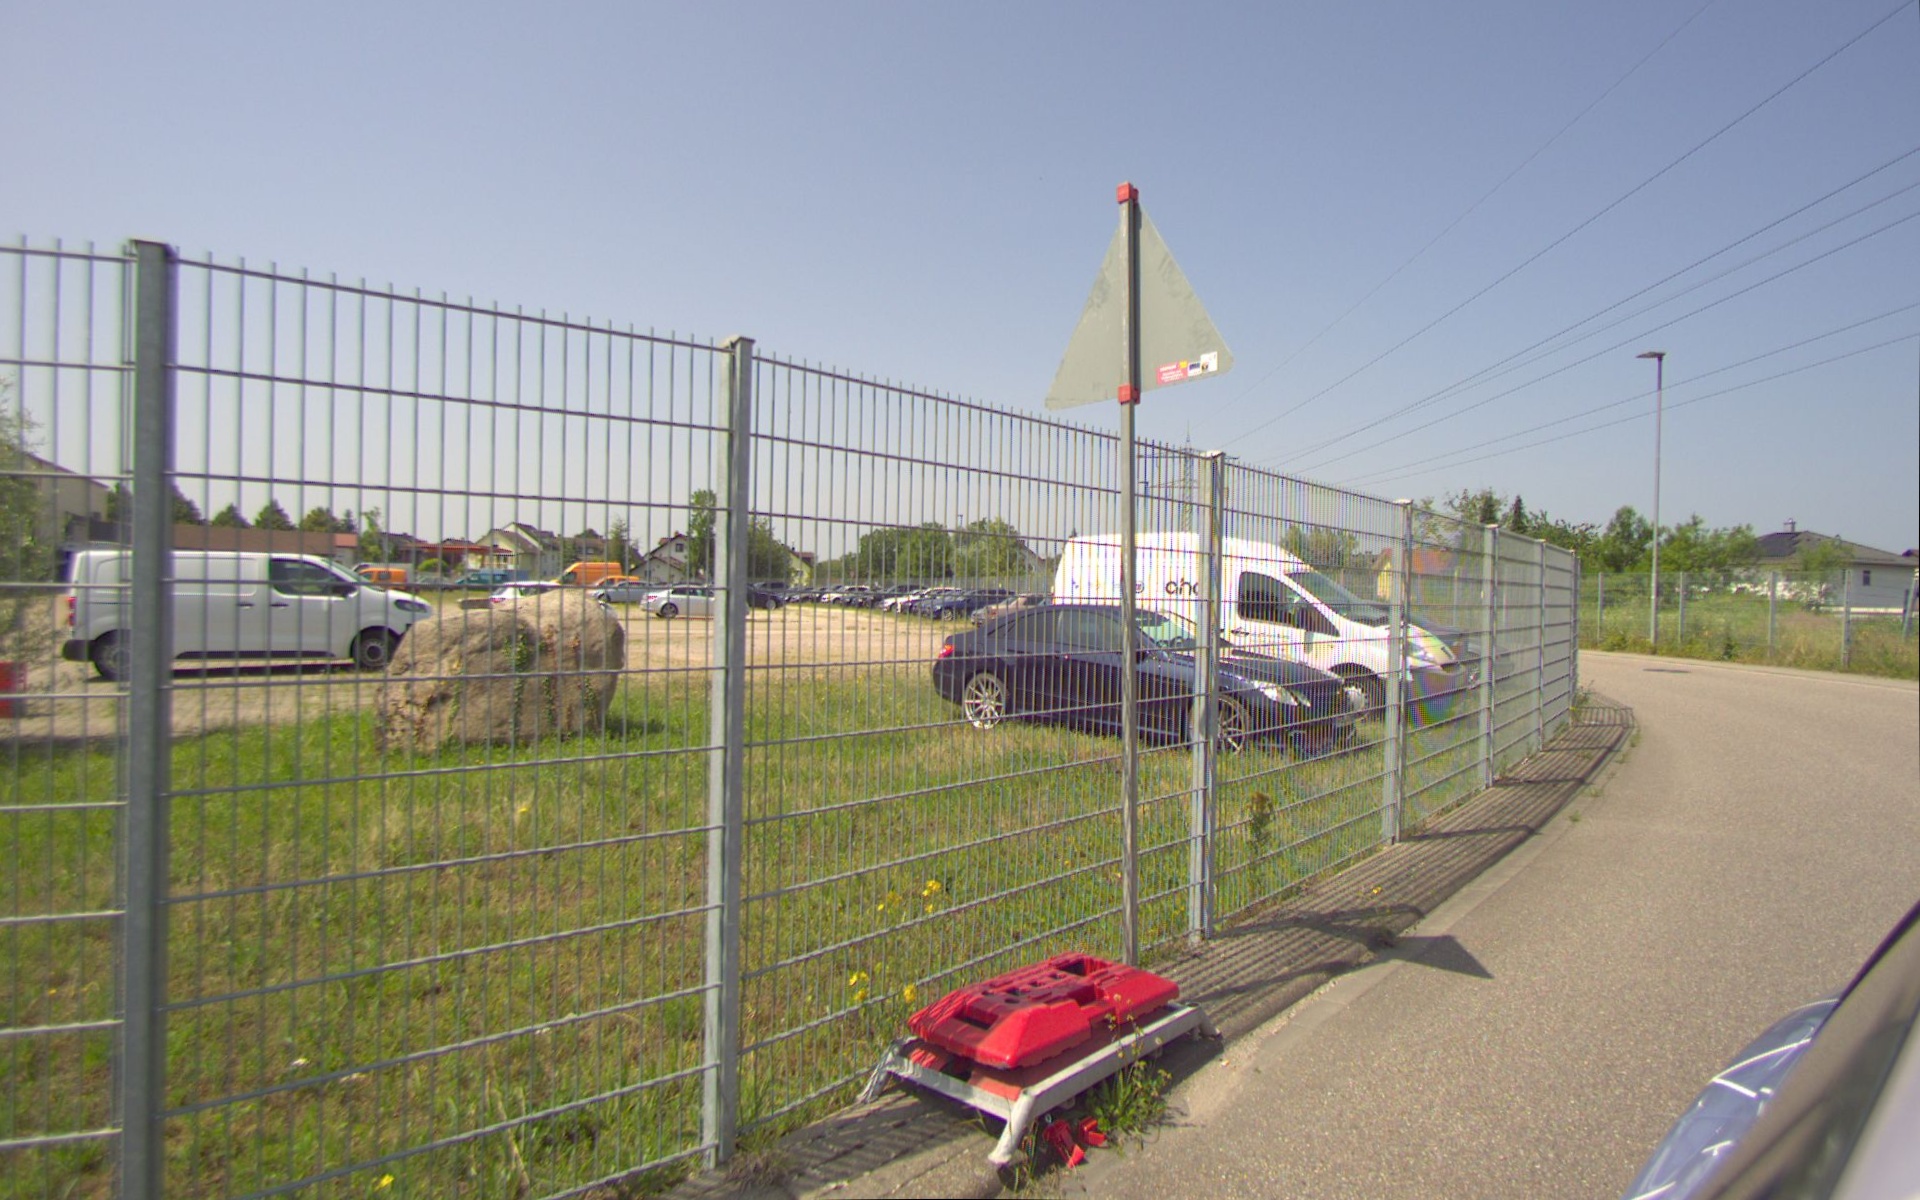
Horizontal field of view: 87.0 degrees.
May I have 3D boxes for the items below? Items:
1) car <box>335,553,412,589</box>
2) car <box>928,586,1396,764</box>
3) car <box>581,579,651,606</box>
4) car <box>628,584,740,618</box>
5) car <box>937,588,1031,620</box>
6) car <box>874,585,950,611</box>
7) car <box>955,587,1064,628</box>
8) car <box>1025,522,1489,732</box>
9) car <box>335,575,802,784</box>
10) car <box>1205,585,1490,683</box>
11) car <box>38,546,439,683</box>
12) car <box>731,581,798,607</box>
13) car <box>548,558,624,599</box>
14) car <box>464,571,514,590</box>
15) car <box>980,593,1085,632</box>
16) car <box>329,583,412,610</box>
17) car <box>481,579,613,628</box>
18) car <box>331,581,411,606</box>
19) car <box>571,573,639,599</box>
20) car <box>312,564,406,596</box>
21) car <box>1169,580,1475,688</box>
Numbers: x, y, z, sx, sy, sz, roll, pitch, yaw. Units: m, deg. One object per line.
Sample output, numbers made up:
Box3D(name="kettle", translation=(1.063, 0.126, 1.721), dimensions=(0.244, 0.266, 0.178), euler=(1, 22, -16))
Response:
Box3D(name="car", translation=(-39.183, -1.925, 67.671), dimensions=(4.302, 2.199, 1.975), euler=(2, -1, -31))
Box3D(name="car", translation=(1.926, 0.605, 10.496), dimensions=(4.416, 1.377, 1.879), euler=(2, 1, 41))
Box3D(name="car", translation=(-20.588, -0.439, 60.616), dimensions=(3.751, 1.480, 1.591), euler=(2, -1, -28))
Box3D(name="car", translation=(-11.912, 0.058, 43.747), dimensions=(4.431, 1.368, 1.629), euler=(1, 1, -27))
Box3D(name="car", translation=(1.135, 0.159, 47.745), dimensions=(4.090, 1.354, 1.641), euler=(-2, 1, -16))
Box3D(name="car", translation=(-2.785, -0.143, 58.475), dimensions=(4.090, 1.354, 1.641), euler=(-2, 1, -16))
Box3D(name="car", translation=(1.998, 0.279, 40.949), dimensions=(4.090, 1.492, 1.641), euler=(-2, 1, -16))
Box3D(name="car", translation=(3.573, 0.206, 12.840), dimensions=(5.313, 2.176, 1.881), euler=(2, 1, 37))
Box3D(name="car", translation=(-3.377, 0.487, 8.464), dimensions=(3.907, 1.293, 1.881), euler=(2, 1, 37))
Box3D(name="car", translation=(6.500, 0.512, 17.261), dimensions=(4.308, 1.412, 1.604), euler=(2, 1, 23))
Box3D(name="car", translation=(-11.139, 0.182, 16.169), dimensions=(4.973, 1.923, 1.861), euler=(0, 1, -27))
Box3D(name="car", translation=(-12.036, -0.348, 62.405), dimensions=(3.696, 1.455, 1.614), euler=(2, -1, -28))
Box3D(name="car", translation=(-25.980, -1.440, 70.322), dimensions=(4.649, 2.617, 1.983), euler=(2, -1, -28))
Box3D(name="car", translation=(-41.647, -1.705, 89.492), dimensions=(3.889, 1.504, 1.754), euler=(2, -1, -31))
Box3D(name="car", translation=(2.734, 0.460, 38.513), dimensions=(3.597, 1.371, 1.744), euler=(1, 1, -14))
Box3D(name="car", translation=(-36.321, -0.215, 62.439), dimensions=(4.302, 1.504, 1.975), euler=(2, -1, -31))
Box3D(name="car", translation=(-12.846, 0.112, 31.521), dimensions=(3.594, 1.454, 1.537), euler=(1, 1, -31))
Box3D(name="car", translation=(-37.722, -0.416, 64.945), dimensions=(4.300, 1.395, 1.844), euler=(2, -1, -28))
Box3D(name="car", translation=(-22.063, -0.859, 62.966), dimensions=(3.751, 1.480, 1.591), euler=(2, -1, -28))
Box3D(name="car", translation=(-32.719, -1.063, 55.182), dimensions=(4.302, 1.504, 1.754), euler=(2, -1, -31))
Box3D(name="car", translation=(5.451, 0.437, 15.405), dimensions=(4.173, 1.374, 1.599), euler=(2, 1, 31))
